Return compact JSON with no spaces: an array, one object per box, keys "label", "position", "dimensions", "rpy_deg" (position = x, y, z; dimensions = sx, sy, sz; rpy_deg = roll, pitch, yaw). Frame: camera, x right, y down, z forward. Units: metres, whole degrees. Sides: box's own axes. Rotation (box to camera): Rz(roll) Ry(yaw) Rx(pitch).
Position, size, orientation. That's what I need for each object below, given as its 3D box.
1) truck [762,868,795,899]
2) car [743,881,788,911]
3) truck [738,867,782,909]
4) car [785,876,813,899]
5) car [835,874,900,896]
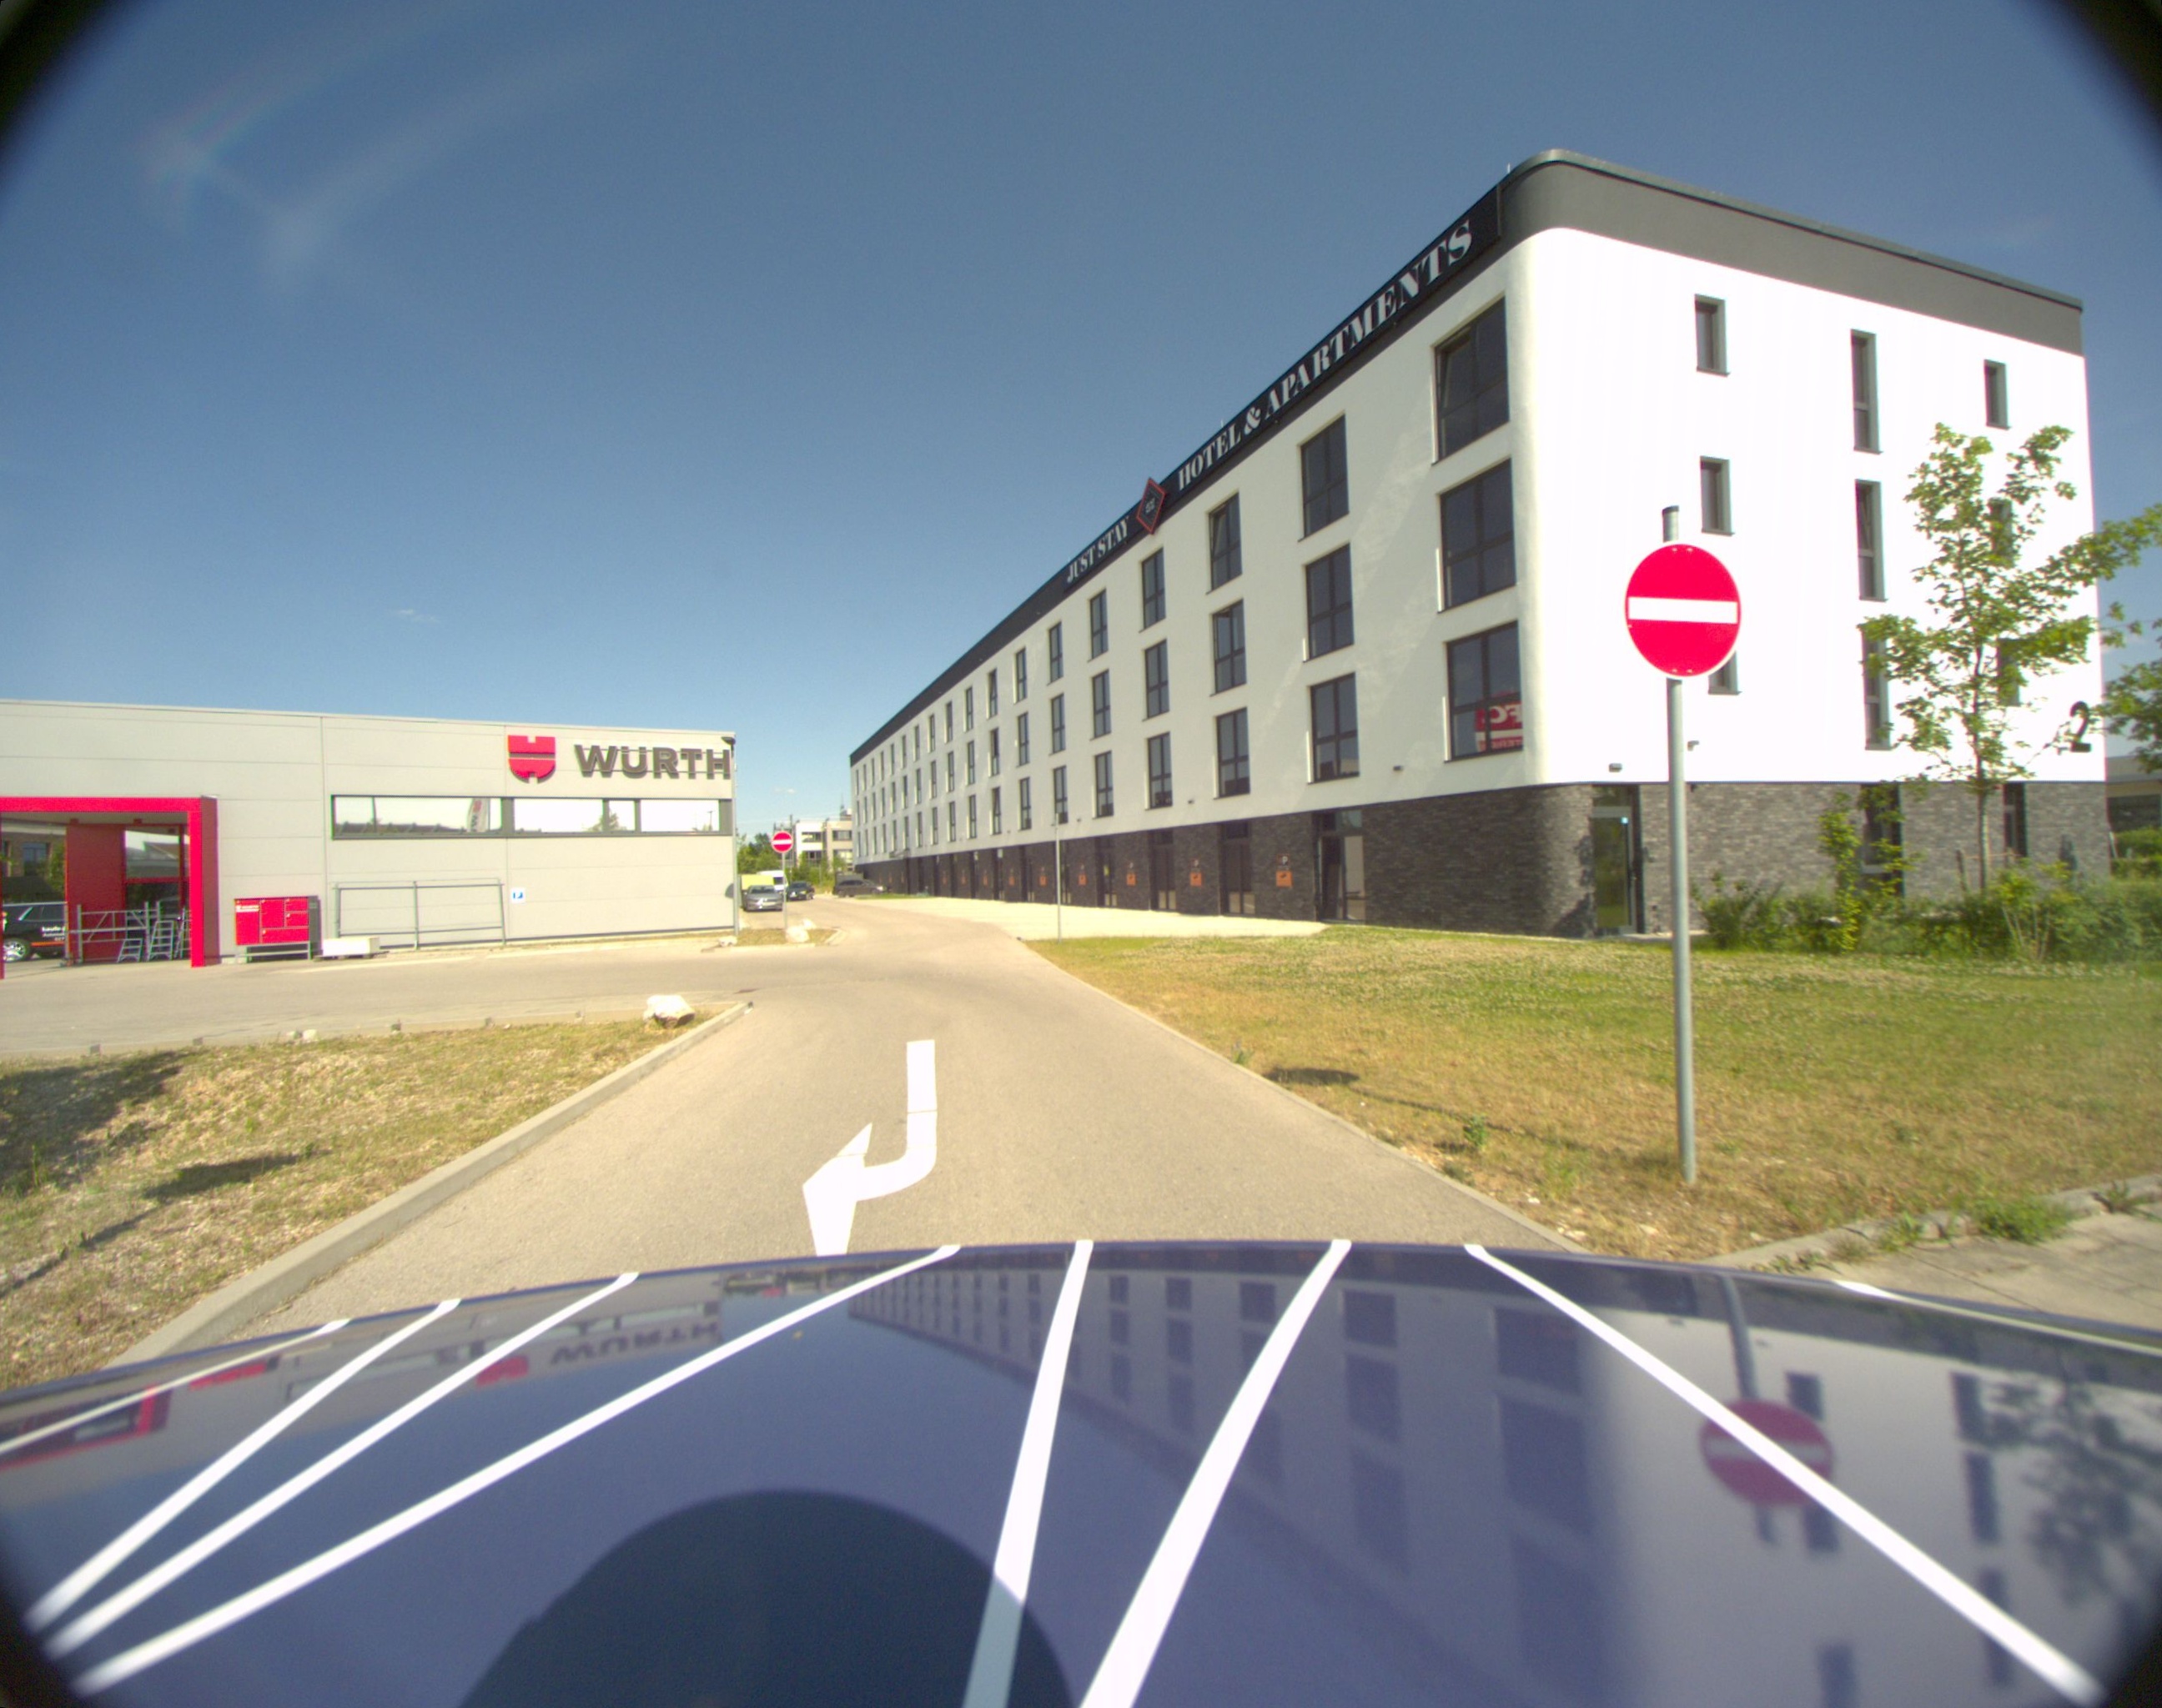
[{"label":"truck","position":[-25.136,2.410,63.110],"dimensions":[2.002,2.362,5.879],"rpy_deg":[-2,-1,-26]},{"label":"car","position":[-17.481,2.287,41.989],"dimensions":[1.882,1.499,3.992],"rpy_deg":[-2,-1,-28]},{"label":"truck","position":[-20.333,2.102,48.015],"dimensions":[2.126,2.362,5.879],"rpy_deg":[-2,-1,-26]},{"label":"car","position":[-21.579,2.533,58.212],"dimensions":[1.720,1.608,3.994],"rpy_deg":[-2,0,-18]},{"label":"car","position":[-16.942,2.423,60.365],"dimensions":[4.518,1.499,1.881],"rpy_deg":[-3,0,10]}]
